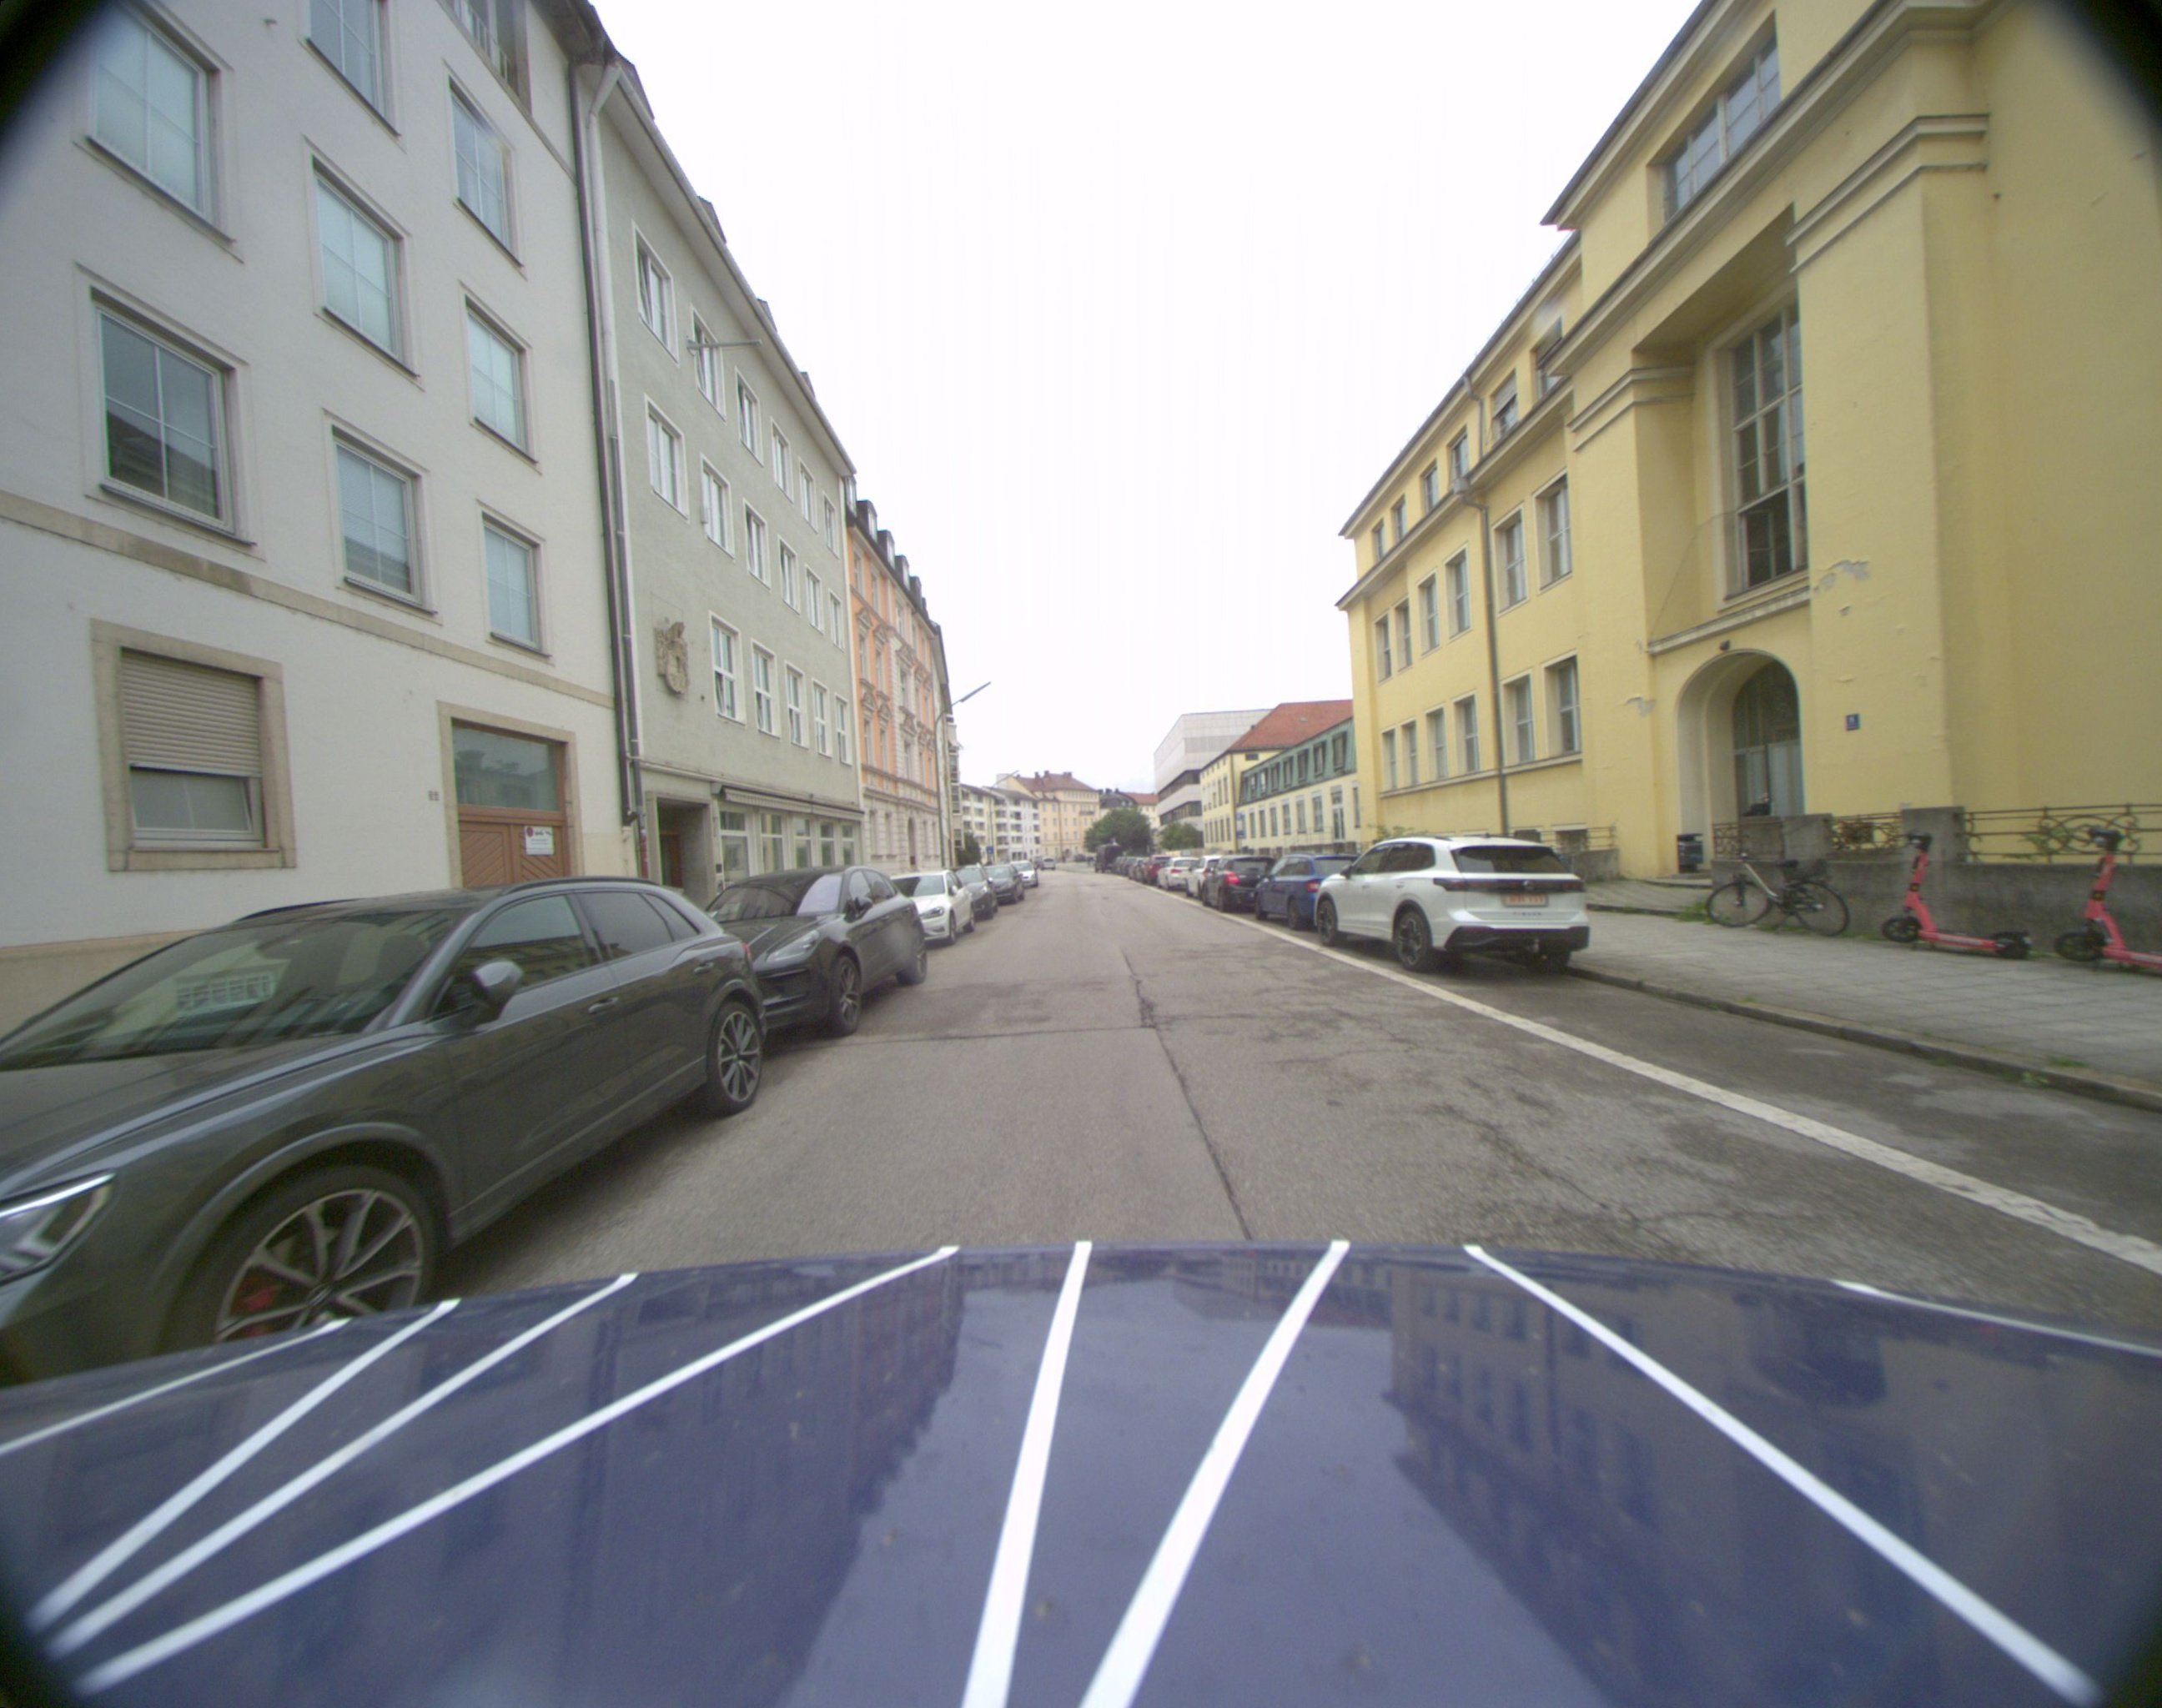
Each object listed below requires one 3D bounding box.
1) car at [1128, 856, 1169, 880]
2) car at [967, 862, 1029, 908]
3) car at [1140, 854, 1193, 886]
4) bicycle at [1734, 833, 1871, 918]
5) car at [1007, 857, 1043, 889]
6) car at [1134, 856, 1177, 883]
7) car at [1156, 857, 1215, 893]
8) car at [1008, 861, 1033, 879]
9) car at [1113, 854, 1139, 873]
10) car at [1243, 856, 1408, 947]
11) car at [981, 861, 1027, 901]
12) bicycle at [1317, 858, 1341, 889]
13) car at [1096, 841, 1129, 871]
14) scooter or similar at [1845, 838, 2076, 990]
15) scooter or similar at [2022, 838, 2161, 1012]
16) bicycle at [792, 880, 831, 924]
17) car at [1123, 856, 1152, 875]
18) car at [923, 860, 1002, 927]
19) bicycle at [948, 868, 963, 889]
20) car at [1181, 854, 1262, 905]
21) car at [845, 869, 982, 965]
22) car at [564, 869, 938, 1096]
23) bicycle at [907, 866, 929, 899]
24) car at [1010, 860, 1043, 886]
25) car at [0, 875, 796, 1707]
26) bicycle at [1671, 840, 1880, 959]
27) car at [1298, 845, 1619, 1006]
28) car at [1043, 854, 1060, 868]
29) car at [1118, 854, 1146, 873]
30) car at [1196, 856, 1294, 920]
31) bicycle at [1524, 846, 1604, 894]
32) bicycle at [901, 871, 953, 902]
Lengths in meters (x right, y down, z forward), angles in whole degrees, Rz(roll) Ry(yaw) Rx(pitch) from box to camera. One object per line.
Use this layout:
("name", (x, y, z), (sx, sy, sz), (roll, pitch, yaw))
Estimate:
("car", (4.271, 0.865, 48.651), (2.020, 1.410, 4.614), (-1, 1, -2))
("car", (-3.026, 1.086, 28.505), (1.692, 1.394, 4.363), (-4, 0, 1))
("car", (4.303, 0.773, 38.953), (1.963, 1.473, 4.527), (-1, 0, -3))
("bicycle", (11.453, 0.334, 12.083), (1.630, 1.261, 0.527), (-3, 1, 1))
("car", (-3.311, 1.083, 44.304), (1.686, 1.663, 3.801), (-5, 0, -8))
("car", (4.205, 0.857, 43.612), (1.754, 1.397, 4.353), (-1, 0, -4))
("car", (4.483, 0.854, 33.265), (1.799, 1.421, 4.663), (0, 0, -2))
("car", (-5.497, 1.434, 68.608), (1.860, 1.406, 5.010), (-4, 0, -9))
("car", (4.036, 0.823, 68.711), (1.885, 1.626, 4.348), (0, 0, -2))
("car", (4.699, 0.826, 15.345), (1.708, 1.493, 4.494), (2, 0, -2))
("car", (-3.351, 1.157, 33.545), (1.692, 1.491, 4.146), (-5, 0, -3))
("bicycle", (9.068, 0.691, 27.822), (0.538, 1.056, 1.641), (-3, 1, 10))
("car", (3.060, 0.214, 75.221), (2.220, 2.837, 6.192), (-1, 0, -8))
("scooter or similar", (8.786, 0.546, 7.686), (0.561, 1.361, 1.501), (-3, 0, 0))
("scooter or similar", (8.826, 0.559, 6.135), (0.561, 1.361, 1.501), (-3, 0, 0))
("bicycle", (-7.788, 1.357, 22.019), (0.385, 1.151, 1.949), (-3, 0, -1))
("car", (4.378, 0.873, 59.448), (1.918, 1.473, 4.531), (0, 0, 0))
("car", (-3.293, 1.048, 21.839), (1.711, 1.583, 4.360), (-5, 0, -3))
("bicycle", (-7.042, 1.372, 42.823), (0.725, 1.106, 1.993), (-3, 0, -8))
("car", (4.622, 0.774, 25.685), (1.789, 1.423, 4.651), (-4, 0, 0))
("car", (-3.247, 1.153, 15.644), (1.677, 1.421, 4.529), (-5, 0, 0))
("car", (-3.043, 1.062, 8.329), (1.844, 1.513, 4.709), (-5, 0, 1))
("bicycle", (-7.252, 1.260, 33.905), (0.597, 1.377, 2.091), (-2, 0, -4))
("car", (-3.534, 1.186, 49.593), (1.747, 1.486, 4.547), (-4, 0, 0))
("car", (-3.084, 1.047, 3.460), (1.649, 1.580, 4.633), (-6, 0, 0))
("bicycle", (8.726, 0.509, 9.702), (0.682, 1.321, 2.113), (-4, 1, 0))
("car", (4.656, 0.732, 10.377), (1.750, 1.624, 4.855), (-2, 0, -3))
("car", (-4.328, 1.004, 109.607), (1.921, 1.837, 5.318), (-2, -1, -7))
("car", (4.269, 0.813, 64.210), (1.919, 1.578, 4.351), (0, -1, -3))
("car", (4.287, 0.832, 20.452), (1.703, 1.488, 4.148), (0, 0, 0))
("bicycle", (11.338, 0.363, 17.844), (1.662, 1.044, 0.425), (-3, 1, -7))
("bicycle", (-6.423, 1.347, 31.835), (2.096, 1.132, 0.583), (-2, 0, -44))
